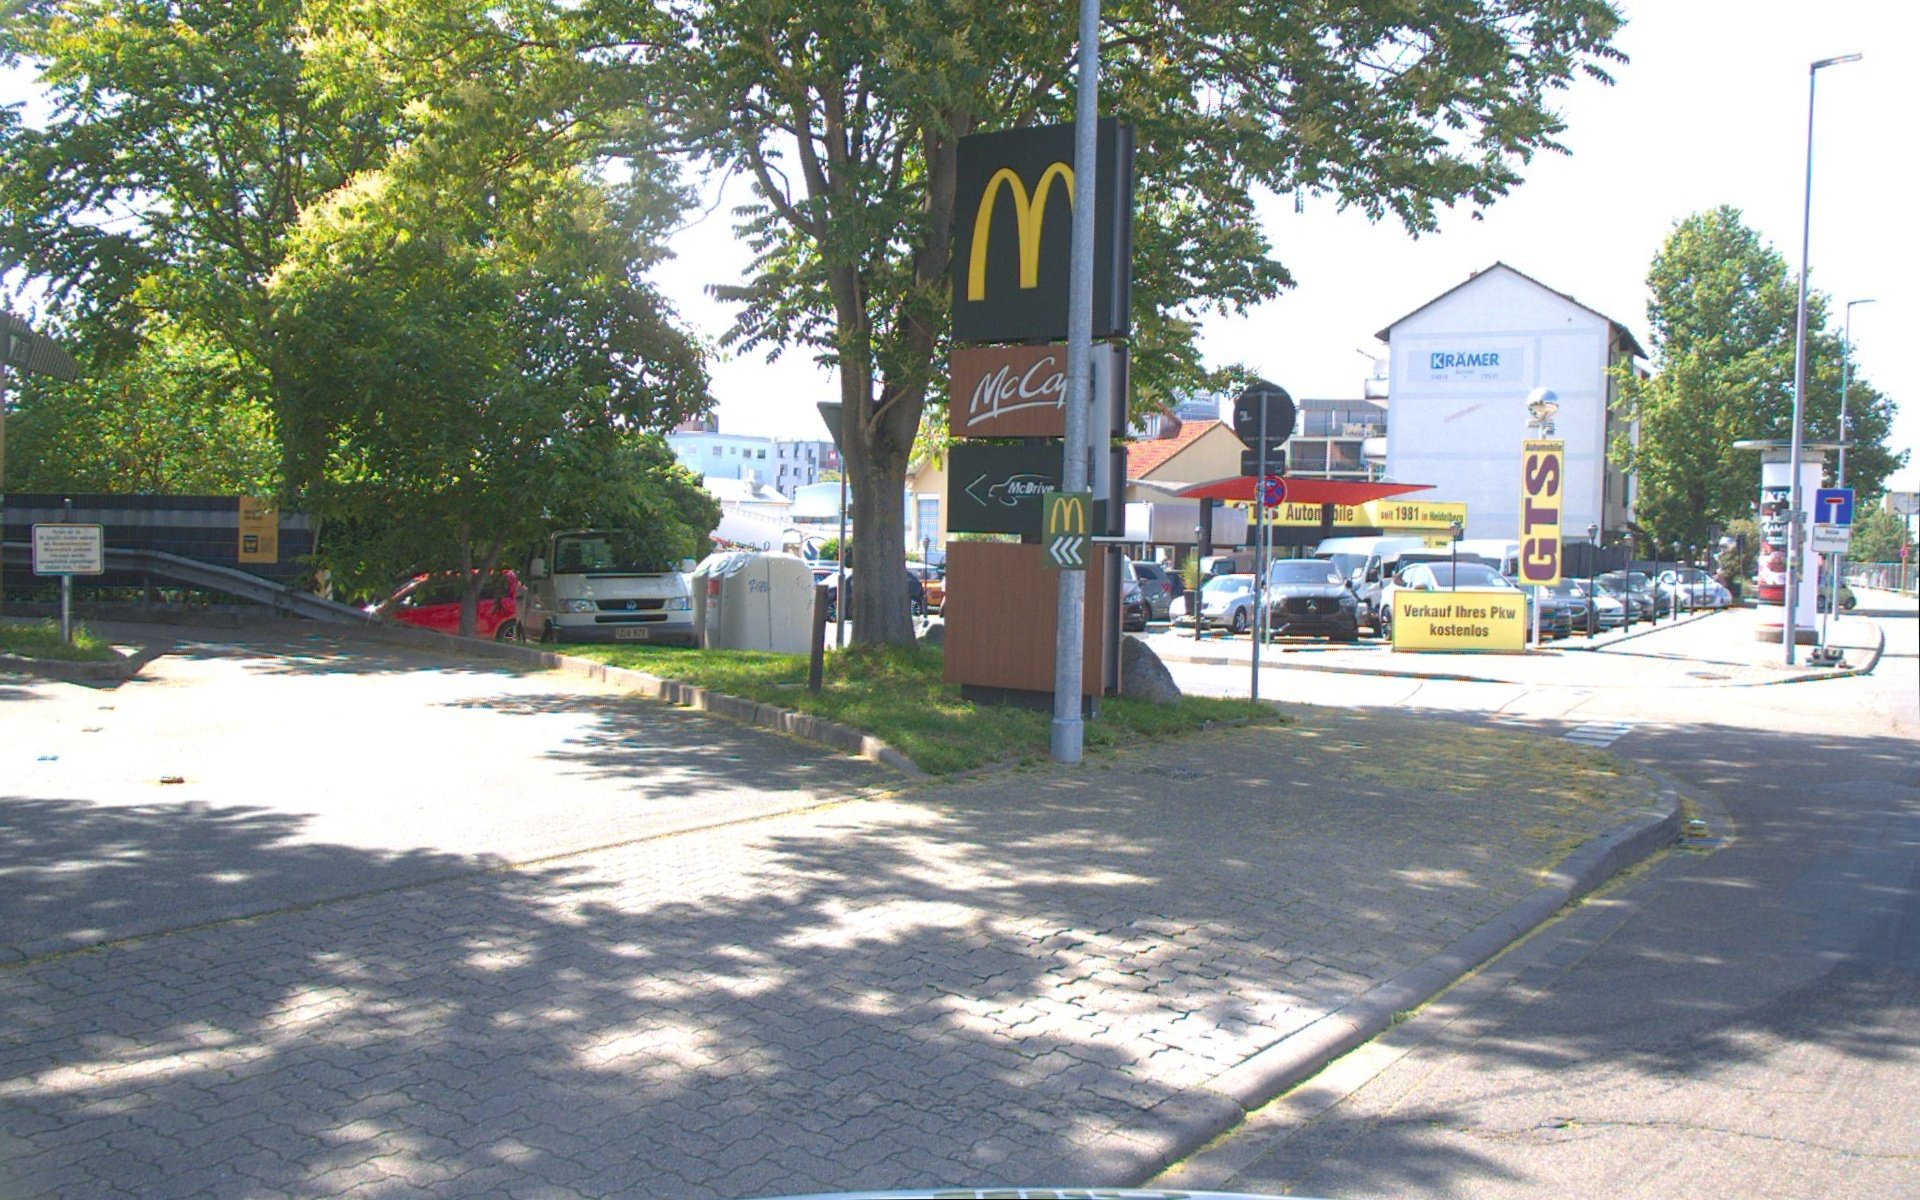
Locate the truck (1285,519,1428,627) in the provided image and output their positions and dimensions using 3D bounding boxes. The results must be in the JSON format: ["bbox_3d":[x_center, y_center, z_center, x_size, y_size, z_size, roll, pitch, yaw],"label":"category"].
[{"bbox_3d":[11.956,-0.788,49.524,2.229,2.953,5.927,4,2,32],"label":"truck"}]

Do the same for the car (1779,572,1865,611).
[{"bbox_3d":[40.947,-0.417,78.618,3.212,1.665,1.722,2,1,-11],"label":"car"}]

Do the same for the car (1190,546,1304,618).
[{"bbox_3d":[8.856,-0.525,50.695,1.957,2.048,4.487,3,1,30],"label":"car"}]

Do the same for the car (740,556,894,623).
[{"bbox_3d":[-4.131,-0.306,47.828,3.947,1.735,1.979,2,1,-32],"label":"car"}]

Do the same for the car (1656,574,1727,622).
[{"bbox_3d":[27.495,-0.104,62.283,1.817,1.657,4.003,2,2,15],"label":"car"}]

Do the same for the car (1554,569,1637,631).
[{"bbox_3d":[18.474,-0.045,48.248,1.817,1.657,4.003,2,2,15],"label":"car"}]

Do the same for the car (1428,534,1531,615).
[{"bbox_3d":[16.092,-0.798,51.072,2.095,2.324,4.704,3,2,28],"label":"car"}]

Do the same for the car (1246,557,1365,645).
[{"bbox_3d":[7.106,-0.020,34.417,2.003,1.622,4.427,3,1,7],"label":"car"}]

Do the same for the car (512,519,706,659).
[{"bbox_3d":[-4.885,-0.235,22.446,1.922,1.610,5.005,2,2,-19],"label":"car"}]

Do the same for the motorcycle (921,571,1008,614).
[{"bbox_3d":[0.164,-0.233,52.019,2.691,1.248,0.986,2,1,-39],"label":"motorcycle"}]

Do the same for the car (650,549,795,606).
[{"bbox_3d":[-8.235,-0.755,57.488,4.606,1.755,1.973,2,1,-38],"label":"car"}]

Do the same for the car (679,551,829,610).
[{"bbox_3d":[-6.888,-0.650,55.505,4.606,1.755,1.973,2,1,-38],"label":"car"}]

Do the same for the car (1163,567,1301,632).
[{"bbox_3d":[6.993,-0.004,42.247,1.760,1.513,3.982,3,1,38],"label":"car"}]

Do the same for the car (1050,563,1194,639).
[{"bbox_3d":[3.722,0.019,37.372,1.754,1.536,3.993,3,1,29],"label":"car"}]

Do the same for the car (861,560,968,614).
[{"bbox_3d":[-1.578,-0.464,55.495,1.971,1.612,3.963,2,1,-29],"label":"car"}]

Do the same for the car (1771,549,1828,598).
[{"bbox_3d":[46.485,-1.443,91.529,2.491,2.563,5.108,3,1,30],"label":"car"}]

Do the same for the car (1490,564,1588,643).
[{"bbox_3d":[13.318,0.044,38.232,1.817,1.657,4.003,2,2,15],"label":"car"}]

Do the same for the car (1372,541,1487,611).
[{"bbox_3d":[13.075,-0.656,45.848,1.843,1.768,4.712,4,2,31],"label":"car"}]

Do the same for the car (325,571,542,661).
[{"bbox_3d":[-9.109,0.249,28.650,3.367,1.402,1.473,0,4,-30],"label":"car"}]

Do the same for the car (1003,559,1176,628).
[{"bbox_3d":[3.420,-0.182,44.183,4.239,1.612,1.997,2,1,-8],"label":"car"}]

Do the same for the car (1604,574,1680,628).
[{"bbox_3d":[22.890,0.002,55.634,1.817,1.657,4.003,2,2,15],"label":"car"}]

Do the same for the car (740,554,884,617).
[{"bbox_3d":[-4.560,-0.445,51.137,3.959,1.755,1.973,2,1,-39],"label":"car"}]

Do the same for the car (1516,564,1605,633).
[{"bbox_3d":[15.703,-0.069,43.390,1.817,1.657,4.003,2,2,15],"label":"car"}]

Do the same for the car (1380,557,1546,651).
[{"bbox_3d":[10.352,0.023,34.368,1.954,1.755,3.997,2,1,-4],"label":"car"}]
